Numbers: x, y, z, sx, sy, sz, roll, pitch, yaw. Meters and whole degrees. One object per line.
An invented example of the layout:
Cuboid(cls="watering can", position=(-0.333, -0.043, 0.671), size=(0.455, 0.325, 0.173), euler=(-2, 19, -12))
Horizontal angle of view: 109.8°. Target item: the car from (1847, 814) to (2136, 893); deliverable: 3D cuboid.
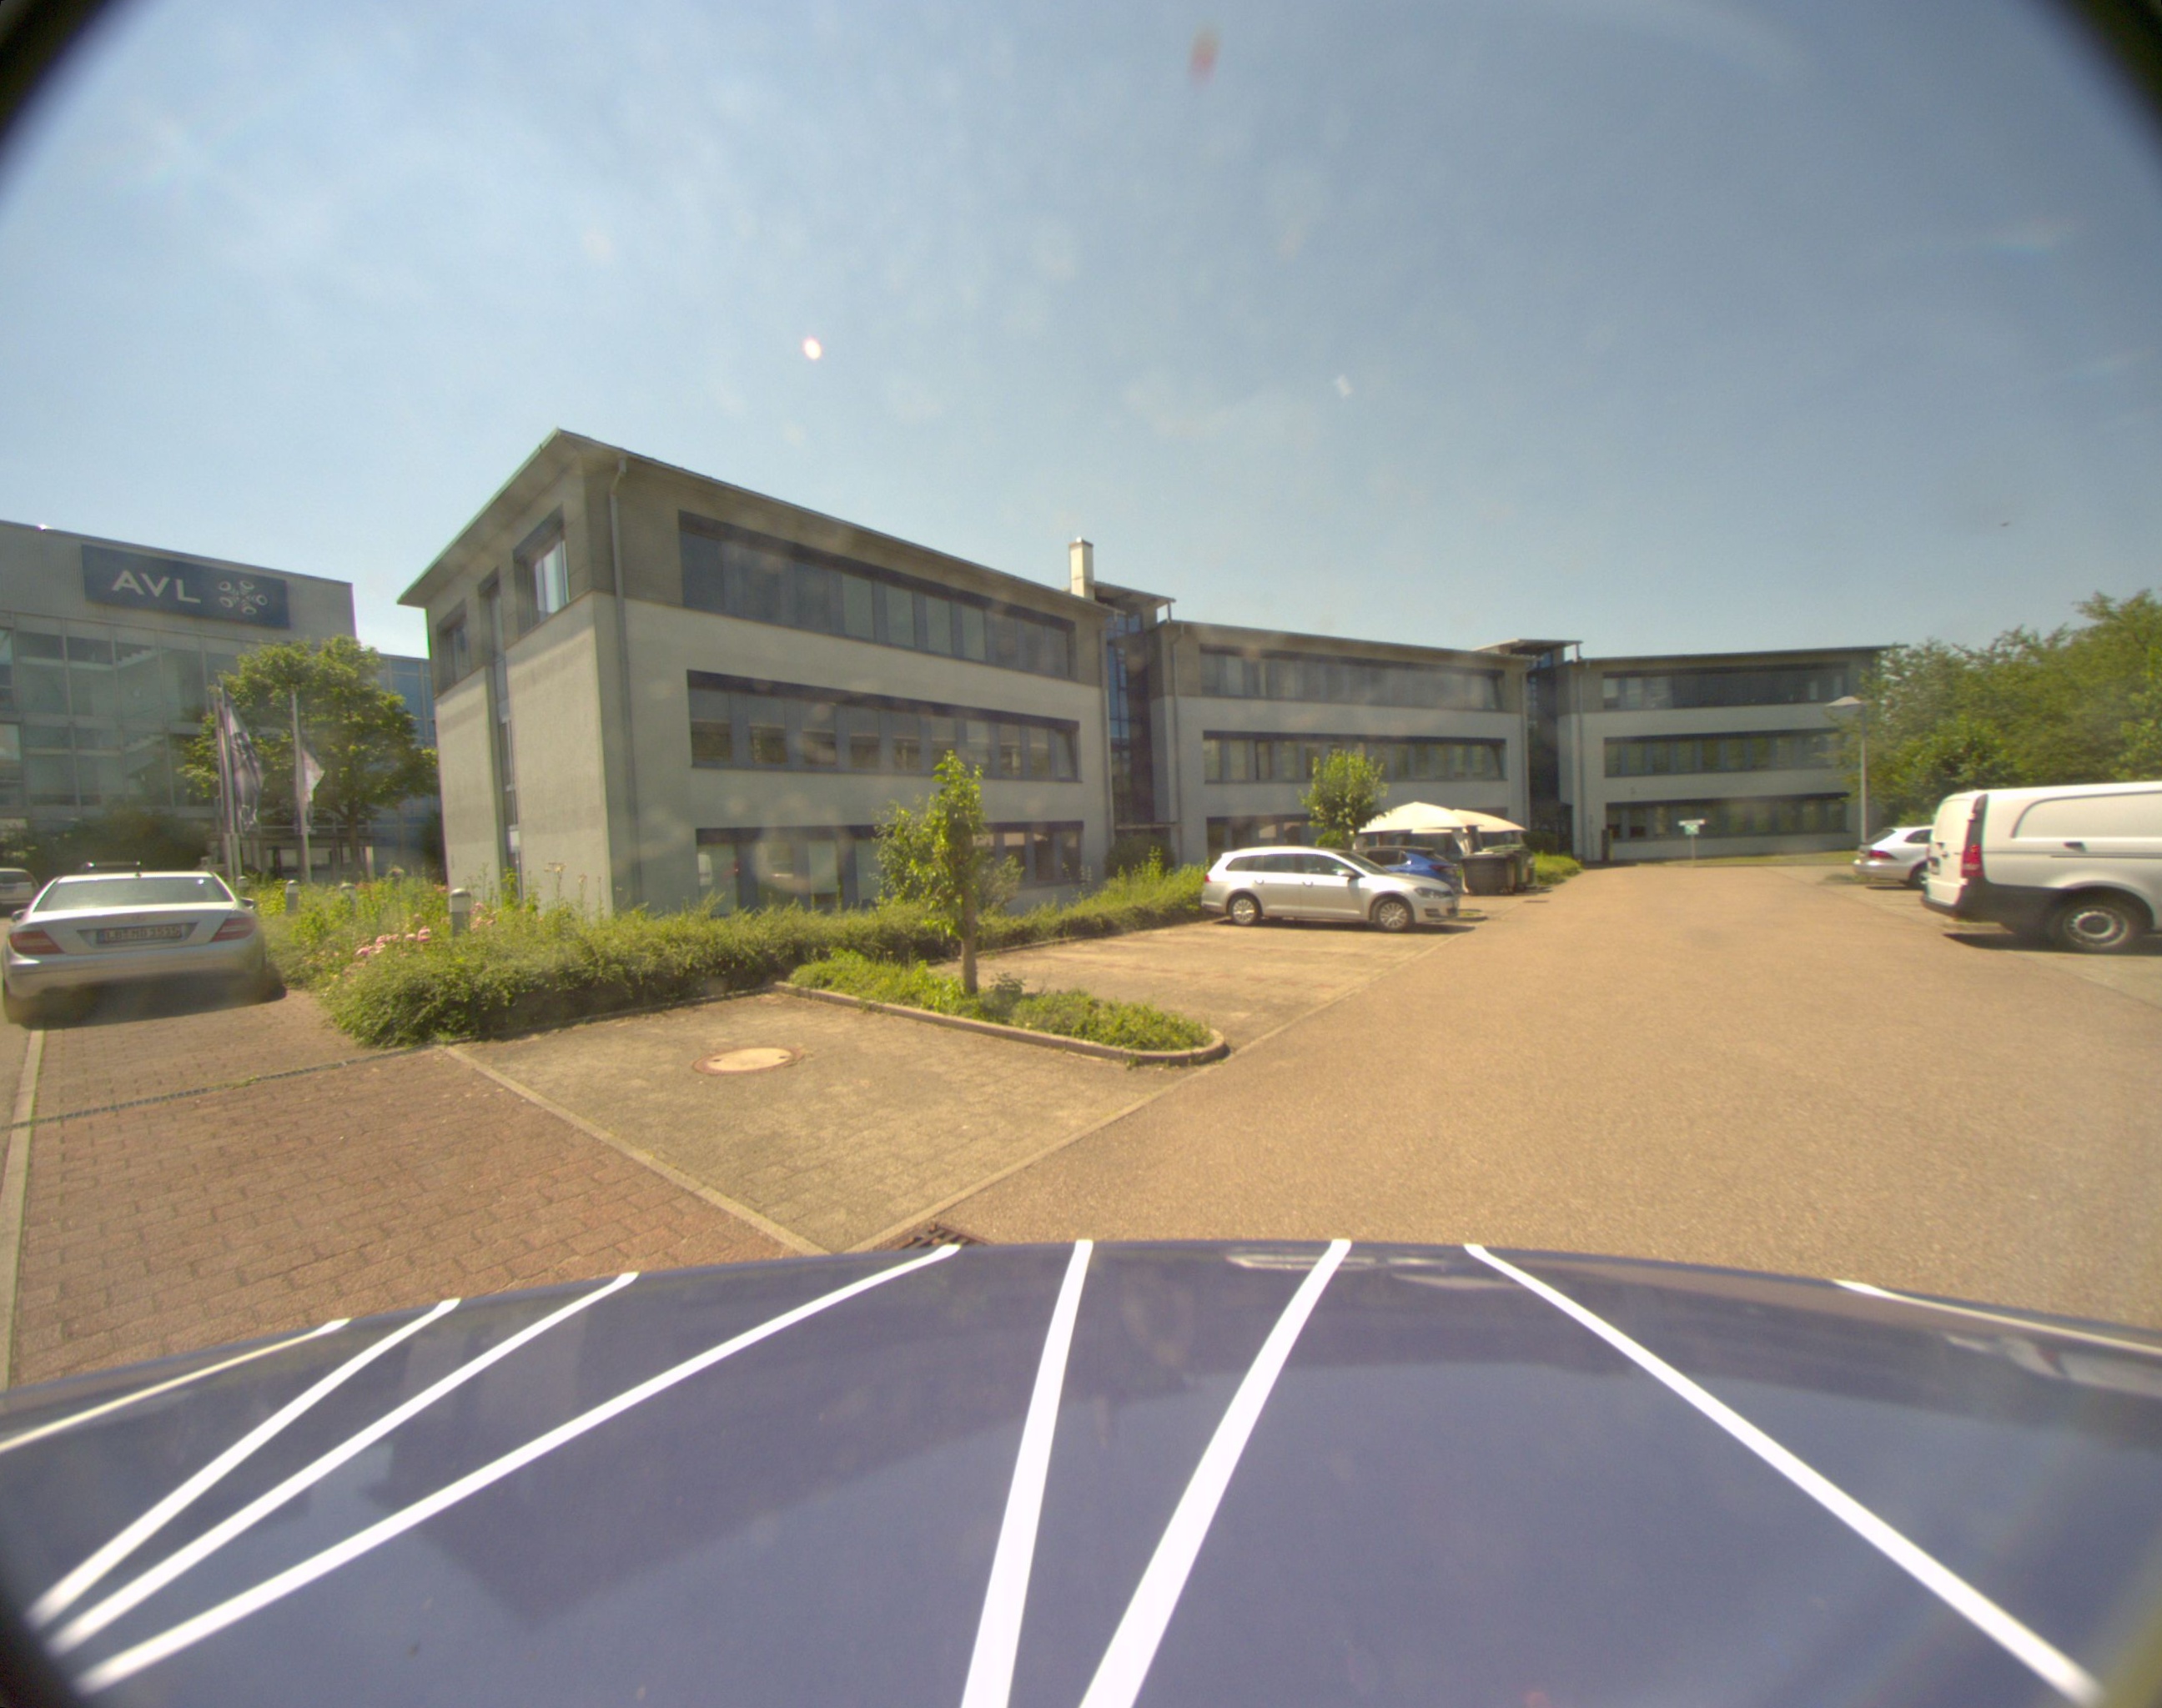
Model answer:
Cuboid(cls="car", position=(19.579, 0.007, 16.620), size=(3.755, 1.549, 1.664), euler=(-2, 1, 36))

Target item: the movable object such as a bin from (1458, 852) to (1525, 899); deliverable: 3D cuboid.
Cuboid(cls="movable object such as a bin", position=(11.029, 0.572, 20.440), size=(1.361, 1.183, 0.999), euler=(-1, 1, 42))

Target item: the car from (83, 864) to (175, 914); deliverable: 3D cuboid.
Cuboid(cls="car", position=(-32.430, 1.174, 25.849), size=(3.989, 1.510, 1.753), euler=(-2, 1, 37))

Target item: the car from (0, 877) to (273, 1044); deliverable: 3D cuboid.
Cuboid(cls="car", position=(-10.837, 1.038, 8.722), size=(3.706, 1.428, 1.733), euler=(-2, 1, 38))

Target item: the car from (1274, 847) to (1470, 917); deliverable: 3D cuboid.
Cuboid(cls="car", position=(6.505, 0.565, 17.120), size=(3.816, 1.384, 1.655), euler=(0, 2, 36))

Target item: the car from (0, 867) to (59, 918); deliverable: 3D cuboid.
Cuboid(cls="car", position=(-34.269, 1.229, 24.050), size=(3.989, 1.510, 1.752), euler=(-2, 1, 30))

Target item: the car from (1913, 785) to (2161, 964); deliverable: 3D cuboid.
Cuboid(cls="car", position=(12.538, 0.169, 8.199), size=(4.508, 1.871, 1.833), euler=(-2, 1, 36))

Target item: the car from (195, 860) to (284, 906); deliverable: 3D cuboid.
Cuboid(cls="car", position=(-30.878, 1.041, 27.857), size=(3.989, 1.510, 1.753), euler=(-2, 1, 37))

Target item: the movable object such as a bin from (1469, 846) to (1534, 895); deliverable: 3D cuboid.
Cuboid(cls="movable object such as a bin", position=(11.748, 0.458, 21.212), size=(1.361, 1.288, 1.045), euler=(-1, 1, 42))

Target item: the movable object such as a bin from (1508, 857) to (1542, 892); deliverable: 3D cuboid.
Cuboid(cls="movable object such as a bin", position=(12.651, 0.582, 21.648), size=(0.689, 0.944, 0.723), euler=(-1, 1, 42))

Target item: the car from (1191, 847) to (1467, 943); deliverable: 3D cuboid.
Cuboid(cls="car", position=(4.500, 0.655, 14.106), size=(4.507, 1.489, 1.833), euler=(0, 2, 36))
